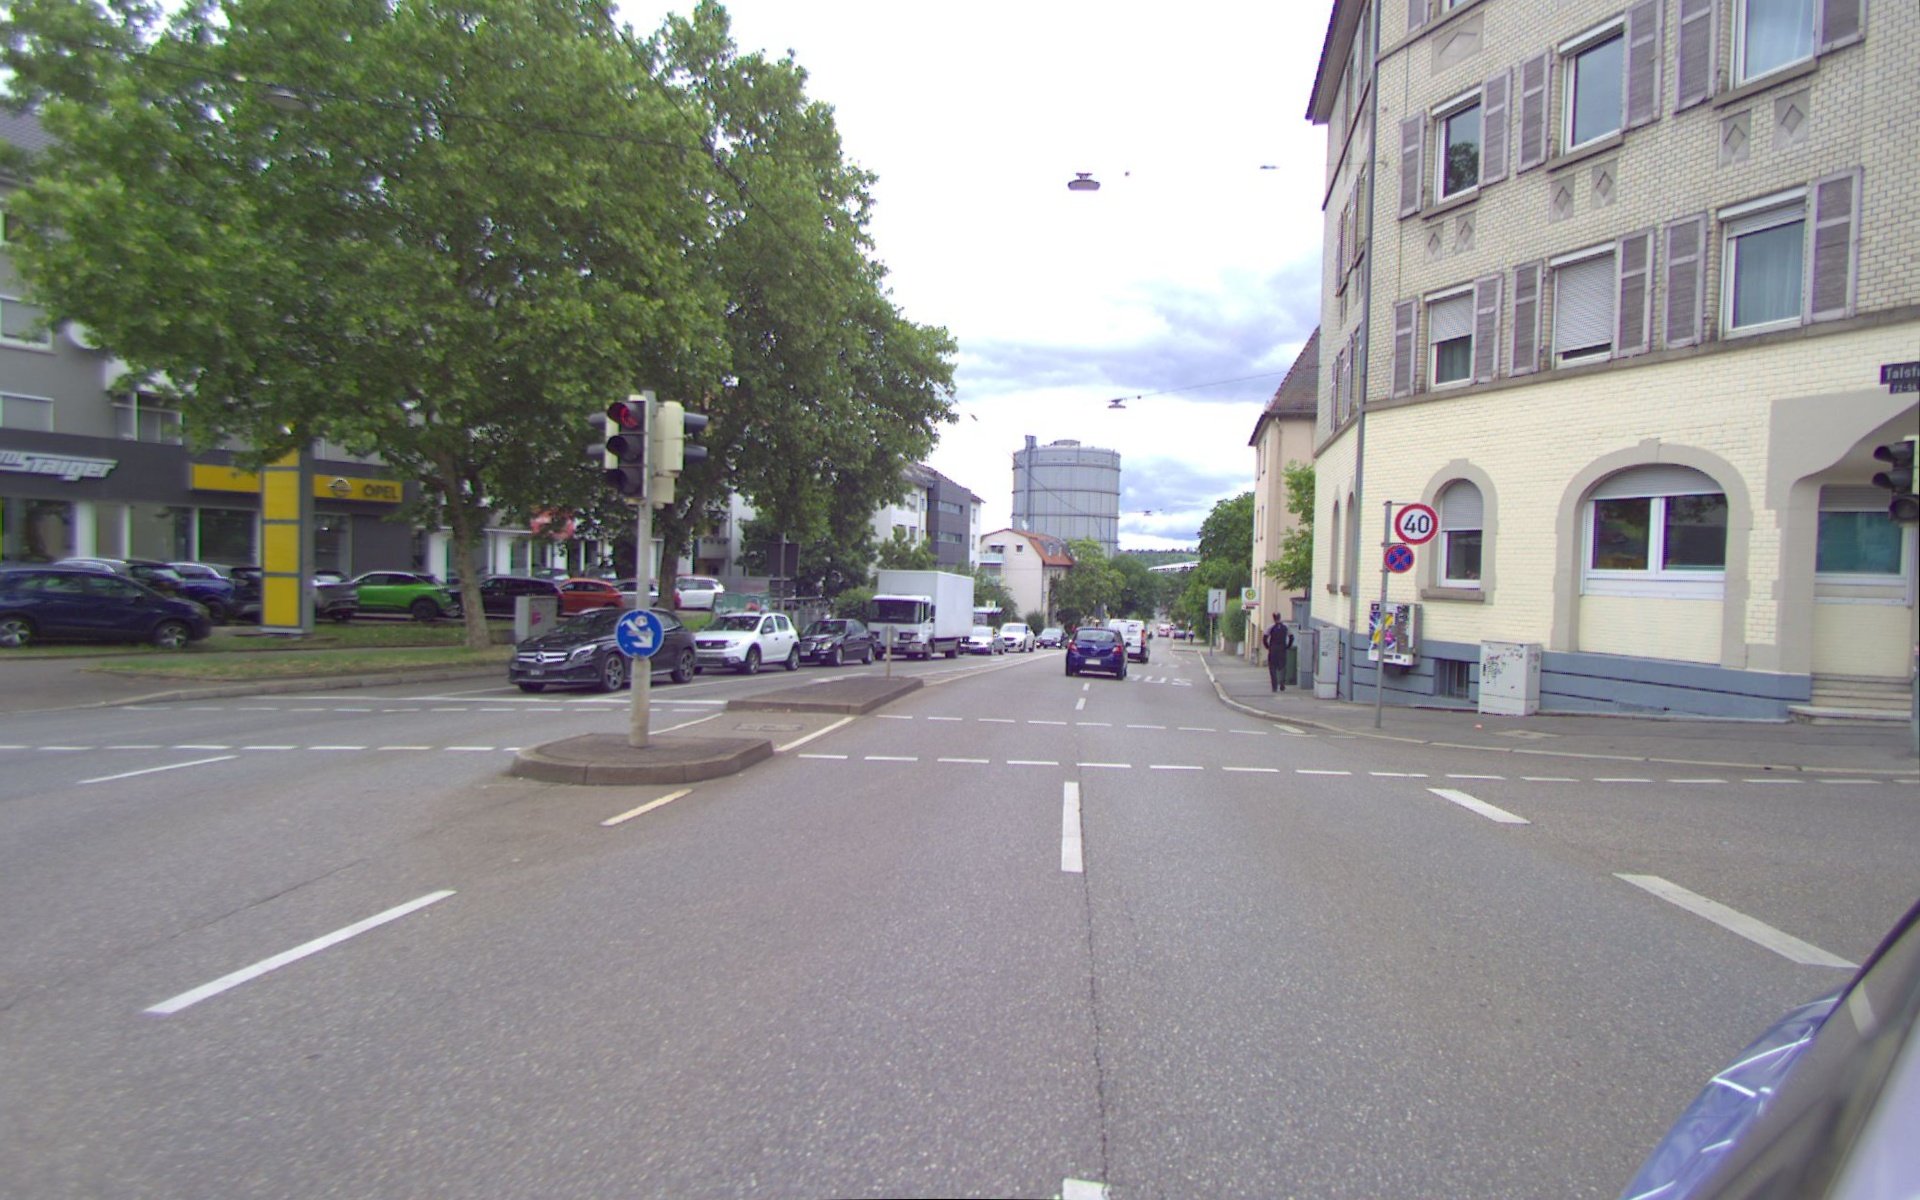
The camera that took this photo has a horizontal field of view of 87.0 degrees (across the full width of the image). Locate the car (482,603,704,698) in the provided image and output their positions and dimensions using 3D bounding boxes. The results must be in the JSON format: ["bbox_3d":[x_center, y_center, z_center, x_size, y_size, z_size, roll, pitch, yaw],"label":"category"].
[{"bbox_3d":[-6.638,0.828,18.867,1.969,1.545,4.242,0,0,12],"label":"car"}]

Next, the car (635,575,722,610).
[{"bbox_3d":[-13.332,-0.339,48.038,3.552,1.523,1.790,1,1,-39],"label":"car"}]

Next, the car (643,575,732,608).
[{"bbox_3d":[-13.735,-0.413,51.097,3.926,1.523,1.862,2,1,-38],"label":"car"}]

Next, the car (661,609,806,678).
[{"bbox_3d":[-5.524,1.004,25.284,1.969,1.545,4.242,0,0,12],"label":"car"}]

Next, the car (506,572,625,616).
[{"bbox_3d":[-15.114,-0.217,38.849,3.922,1.523,1.864,2,1,-34],"label":"car"}]

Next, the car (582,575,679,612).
[{"bbox_3d":[-14.629,-0.291,44.884,3.916,1.523,1.867,2,0,-22],"label":"car"}]

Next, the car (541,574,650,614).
[{"bbox_3d":[-14.968,-0.243,41.582,3.920,1.523,1.865,2,1,-32],"label":"car"}]

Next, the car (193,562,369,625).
[{"bbox_3d":[-19.097,-0.192,28.550,3.936,1.569,1.858,2,0,10],"label":"car"}]

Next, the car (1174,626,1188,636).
[{"bbox_3d":[34.761,4.847,158.957,1.971,1.620,3.981,0,-1,15],"label":"car"}]

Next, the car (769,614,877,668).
[{"bbox_3d":[-4.129,1.216,31.276,1.969,1.484,4.393,0,0,12],"label":"car"}]

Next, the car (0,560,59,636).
[{"bbox_3d":[-21.948,-0.106,21.841,3.942,1.569,1.855,2,0,15],"label":"car"}]

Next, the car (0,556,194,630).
[{"bbox_3d":[-20.562,-0.185,23.946,3.942,1.569,1.855,2,0,15],"label":"car"}]

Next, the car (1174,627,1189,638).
[{"bbox_3d":[32.395,4.722,147.910,1.971,1.620,3.981,0,-1,15],"label":"car"}]

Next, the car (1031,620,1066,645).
[{"bbox_3d":[6.263,2.249,70.988,1.969,1.650,4.393,0,0,12],"label":"car"}]

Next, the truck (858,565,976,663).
[{"bbox_3d":[-1.533,0.516,41.227,2.732,3.546,8.136,0,0,13],"label":"truck"}]

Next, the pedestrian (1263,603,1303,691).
[{"bbox_3d":[7.460,1.072,23.402,0.736,1.961,0.899,-2,-1,13],"label":"pedestrian"}]

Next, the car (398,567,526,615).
[{"bbox_3d":[-17.501,-0.314,35.783,3.916,1.523,1.867,2,0,-22],"label":"car"}]

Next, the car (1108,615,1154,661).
[{"bbox_3d":[7.930,1.696,46.711,1.843,1.907,4.269,4,0,12],"label":"car"}]

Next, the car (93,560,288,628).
[{"bbox_3d":[-19.976,-0.167,26.331,3.936,1.569,1.858,2,0,10],"label":"car"}]

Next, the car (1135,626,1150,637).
[{"bbox_3d":[28.122,4.907,156.100,1.971,1.620,3.981,0,-1,15],"label":"car"}]

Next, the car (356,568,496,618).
[{"bbox_3d":[-17.667,-0.236,33.689,3.916,1.523,1.759,2,0,-22],"label":"car"}]

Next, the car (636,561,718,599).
[{"bbox_3d":[-14.936,-1.050,53.311,3.916,1.845,1.867,2,0,-22],"label":"car"}]

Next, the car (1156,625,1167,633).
[{"bbox_3d":[41.216,5.971,207.083,1.971,1.620,3.981,0,-1,15],"label":"car"}]

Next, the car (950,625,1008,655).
[{"bbox_3d":[0.984,1.932,49.592,1.892,1.315,4.389,0,0,14],"label":"car"}]

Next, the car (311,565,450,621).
[{"bbox_3d":[-17.738,-0.206,31.151,3.536,1.572,1.624,2,0,-25],"label":"car"}]

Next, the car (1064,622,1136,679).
[{"bbox_3d":[4.180,1.429,29.814,1.734,1.465,3.735,0,0,14],"label":"car"}]

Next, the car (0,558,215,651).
[{"bbox_3d":[-18.372,0.107,21.130,1.820,1.626,4.115,9,3,35],"label":"car"}]

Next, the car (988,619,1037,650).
[{"bbox_3d":[3.034,1.924,57.589,1.971,1.650,4.388,0,0,15],"label":"car"}]
